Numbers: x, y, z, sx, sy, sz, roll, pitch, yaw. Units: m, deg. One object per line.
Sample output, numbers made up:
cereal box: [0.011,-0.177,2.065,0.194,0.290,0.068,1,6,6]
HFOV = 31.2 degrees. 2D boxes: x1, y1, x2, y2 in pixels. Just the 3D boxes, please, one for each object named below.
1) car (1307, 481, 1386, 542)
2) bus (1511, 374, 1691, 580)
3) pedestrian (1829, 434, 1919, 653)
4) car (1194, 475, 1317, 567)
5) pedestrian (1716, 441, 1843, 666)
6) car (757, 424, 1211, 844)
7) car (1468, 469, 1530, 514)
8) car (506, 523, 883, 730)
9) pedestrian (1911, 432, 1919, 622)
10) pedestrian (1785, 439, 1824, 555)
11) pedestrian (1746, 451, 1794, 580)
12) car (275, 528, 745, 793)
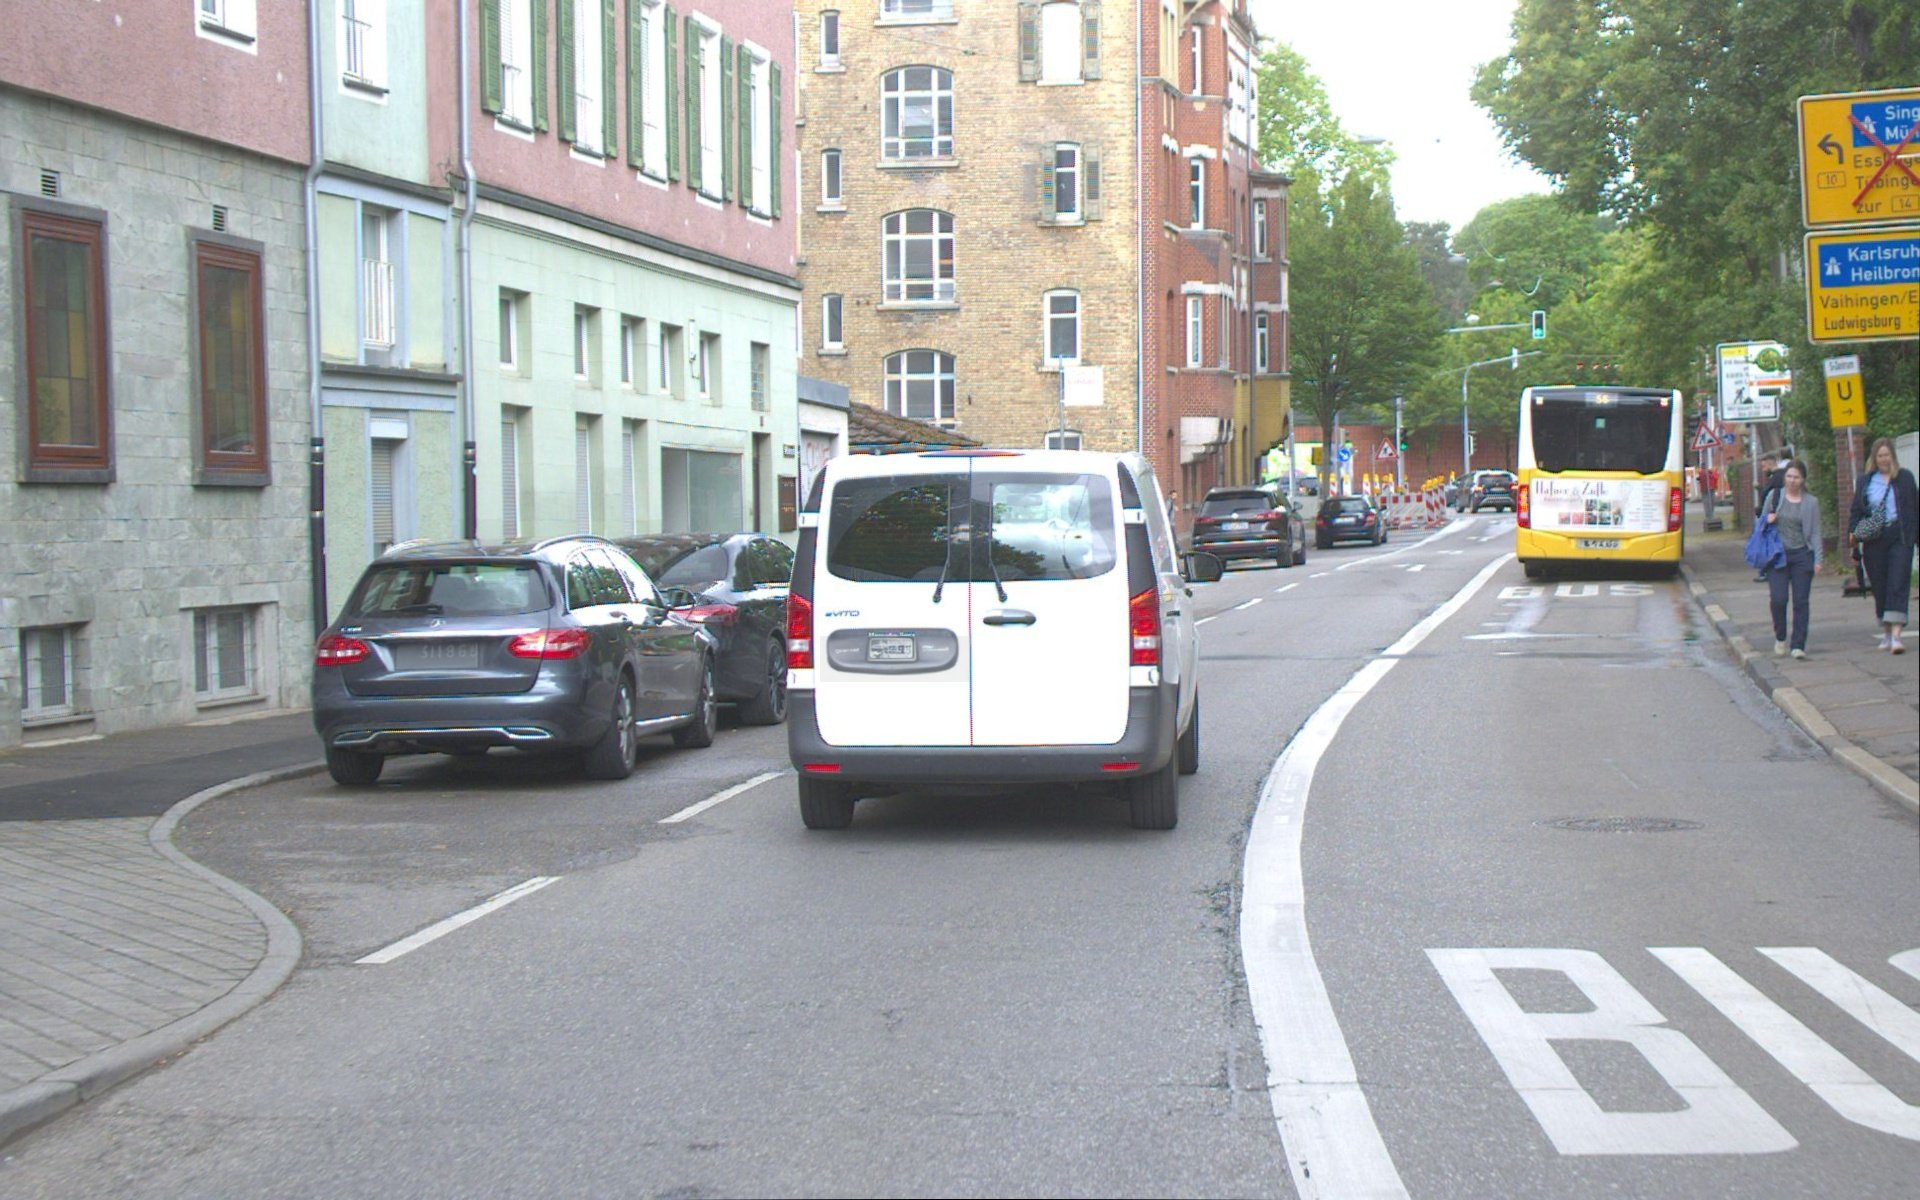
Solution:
car: [10.779,-2.481,95.719,1.726,1.480,4.389,0,4,12]
bus: [10.821,-2.085,57.720,2.664,3.125,10.036,1,2,11]
pedestrian: [7.670,-0.480,28.494,0.687,1.750,0.878,-3,3,5]
car: [6.017,-1.629,69.541,1.955,1.728,4.772,-1,2,11]
pedestrian: [6.811,-0.399,28.599,0.803,1.787,0.942,-3,3,5]
car: [0.274,0.137,18.300,1.918,1.895,4.700,2,1,6]
car: [20.098,-4.053,128.030,2.038,1.480,4.389,0,4,12]
car: [-1.963,0.138,27.052,1.829,1.450,4.919,-1,1,9]
pedestrian: [7.959,-0.476,27.560,0.543,1.750,0.608,-3,3,18]
pedestrian: [13.182,-1.607,53.688,0.450,1.772,0.671,-4,1,11]
pedestrian: [11.317,-1.187,48.063,0.582,1.772,0.821,1,2,11]
car: [-2.676,0.298,21.577,1.829,1.450,4.583,-1,1,7]
